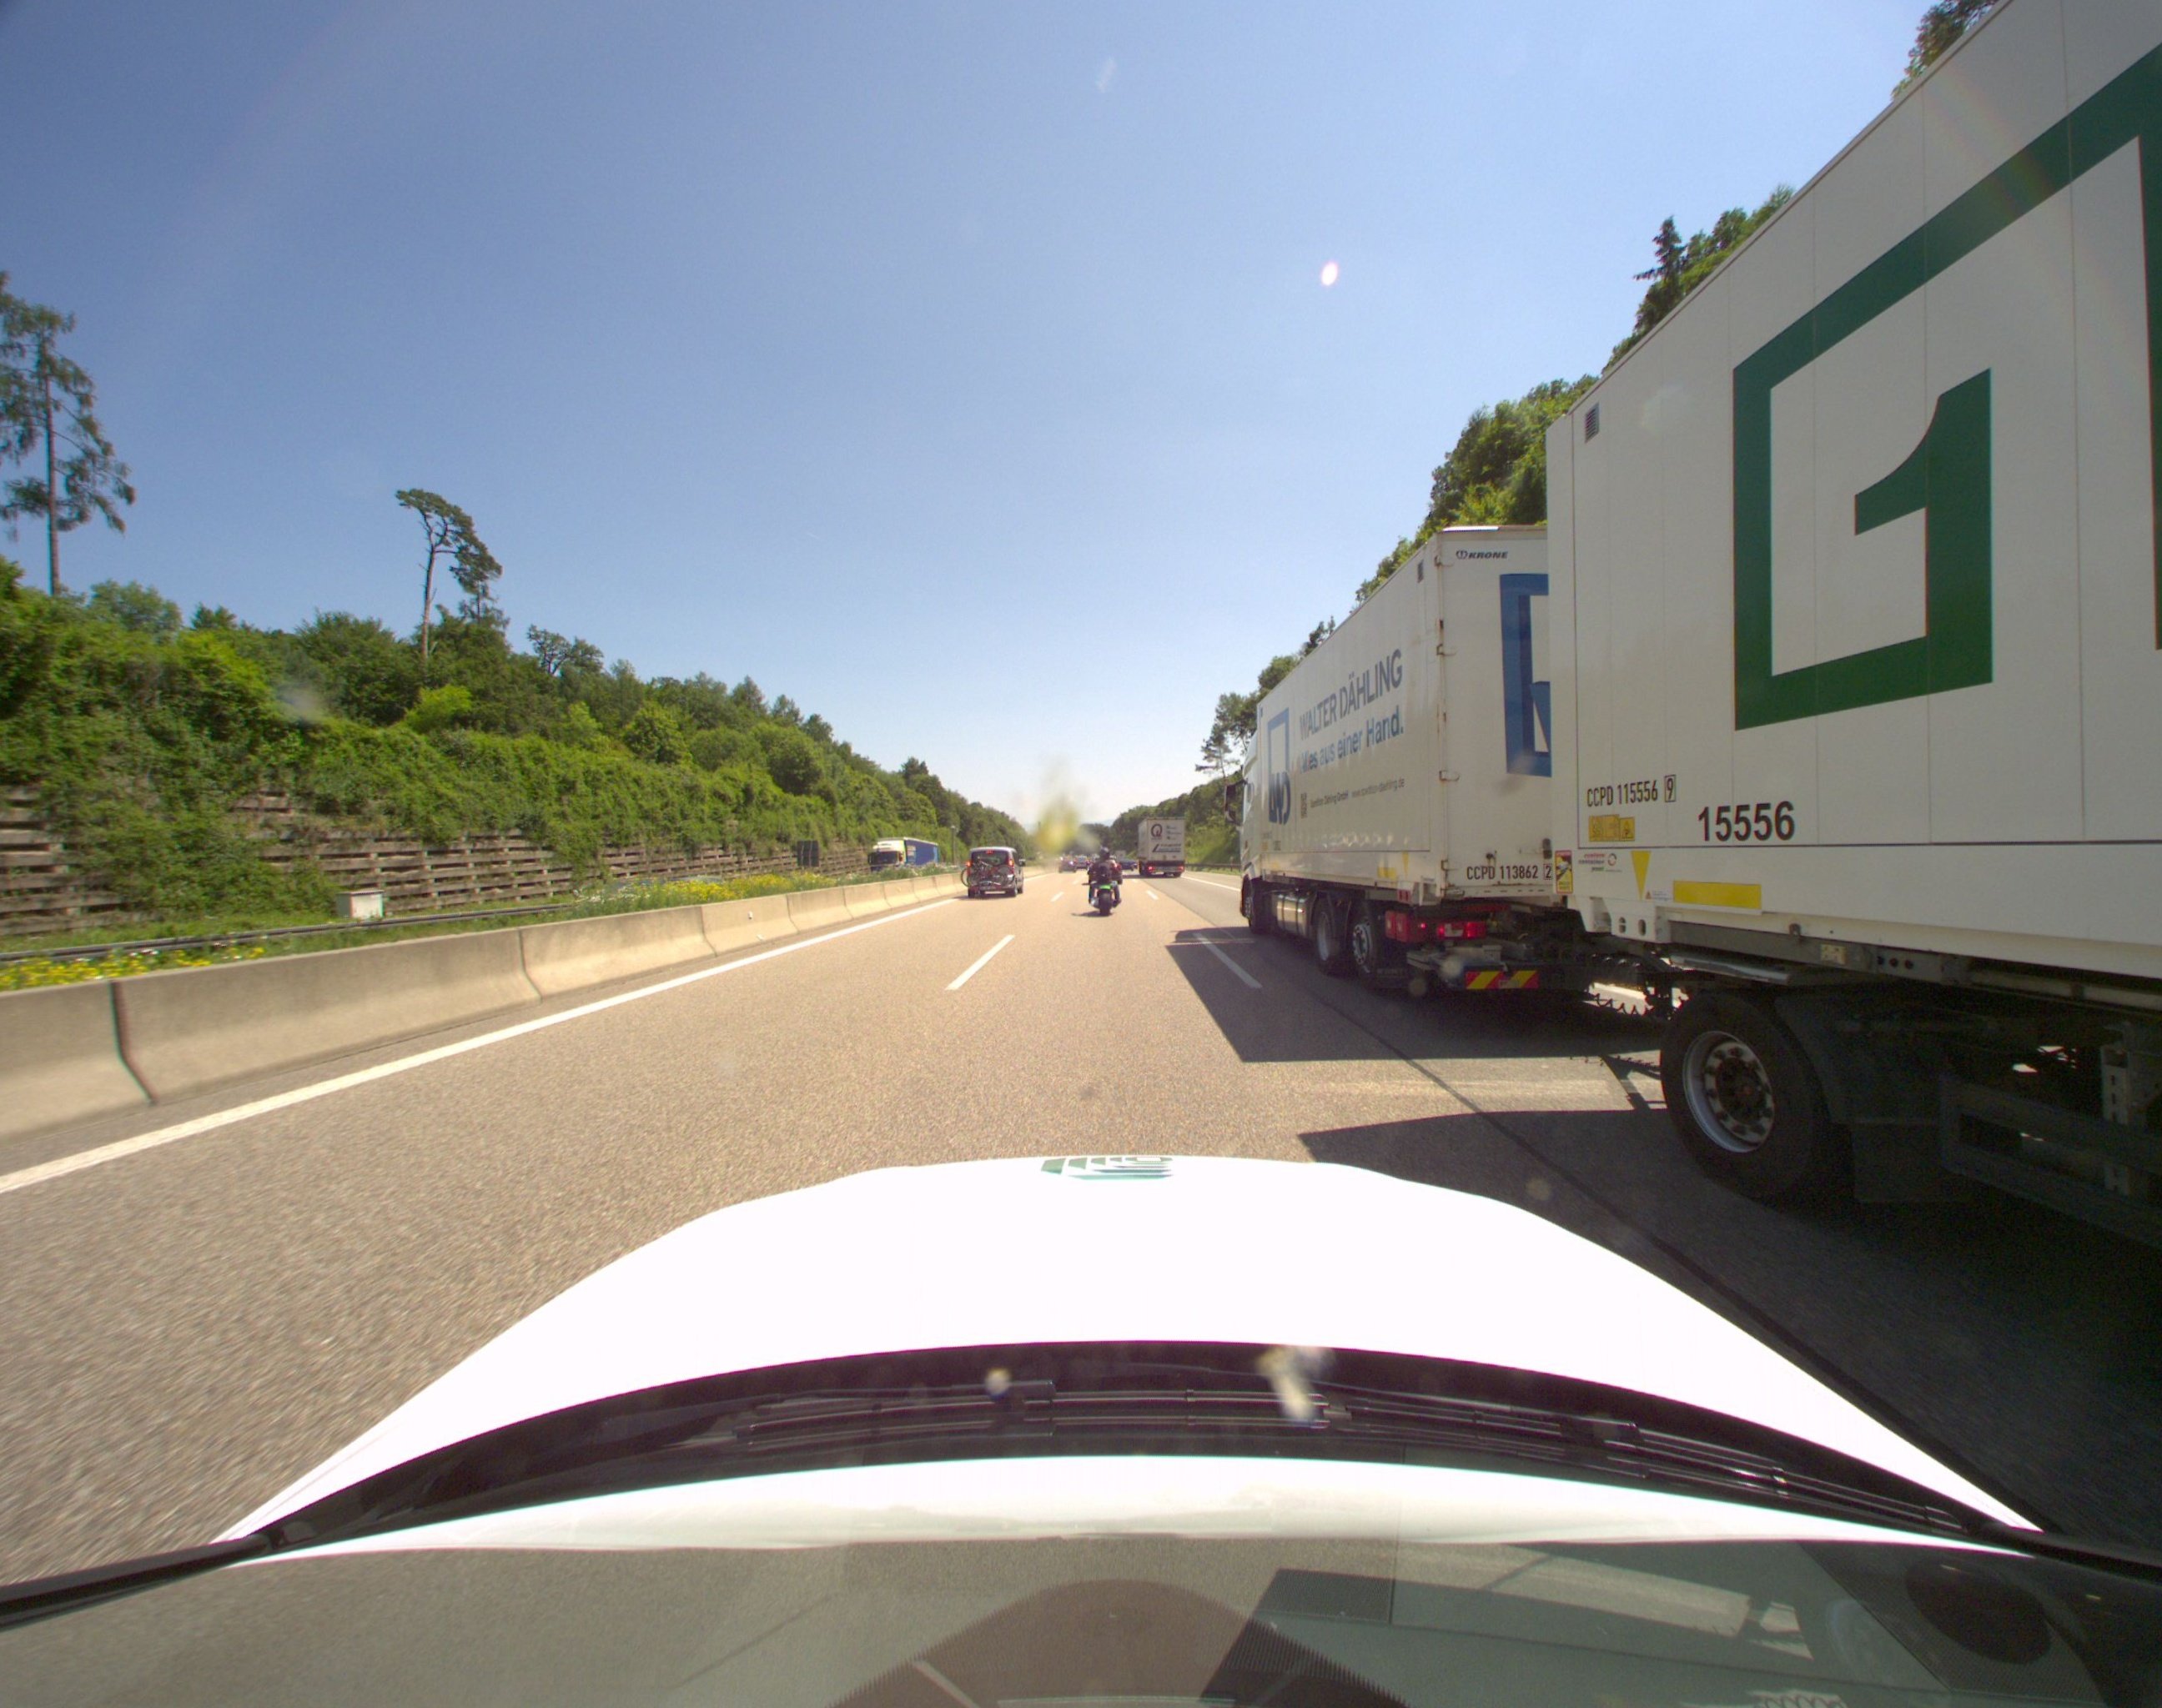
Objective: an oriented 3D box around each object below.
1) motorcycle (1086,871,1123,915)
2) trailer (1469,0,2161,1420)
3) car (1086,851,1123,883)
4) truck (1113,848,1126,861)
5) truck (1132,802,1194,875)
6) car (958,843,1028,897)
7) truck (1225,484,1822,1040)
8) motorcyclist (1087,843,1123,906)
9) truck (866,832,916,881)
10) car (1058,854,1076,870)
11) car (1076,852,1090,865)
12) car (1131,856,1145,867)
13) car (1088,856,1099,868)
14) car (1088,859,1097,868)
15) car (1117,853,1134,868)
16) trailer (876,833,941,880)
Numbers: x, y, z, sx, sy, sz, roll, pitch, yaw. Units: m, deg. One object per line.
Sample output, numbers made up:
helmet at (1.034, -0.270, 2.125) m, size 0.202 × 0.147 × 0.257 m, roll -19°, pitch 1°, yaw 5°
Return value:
motorcycle at (0.612, 0.950, 20.354) m, size 0.859 × 0.982 × 2.132 m, roll -1°, pitch 0°, yaw 2°
trailer at (3.977, -0.680, 0.715) m, size 2.670 × 4.175 × 10.068 m, roll -1°, pitch 0°, yaw 1°
car at (1.226, 0.637, 43.143) m, size 1.839 × 1.557 × 4.441 m, roll -1°, pitch 1°, yaw 1°
truck at (10.040, 0.150, 212.056) m, size 3.056 × 3.346 × 9.656 m, roll 0°, pitch 0°, yaw 2°
truck at (5.908, -1.093, 61.956) m, size 3.371 × 4.717 × 17.716 m, roll 0°, pitch 0°, yaw 2°
car at (-3.217, 0.556, 30.908) m, size 1.891 × 1.848 × 5.484 m, roll -1°, pitch 0°, yaw 1°
truck at (4.198, -0.717, 11.305) m, size 2.670 × 4.059 × 10.628 m, roll -1°, pitch 0°, yaw 1°
motorcyclist at (0.599, 0.493, 20.270) m, size 0.852 × 1.515 × 0.914 m, roll -1°, pitch 0°, yaw 2°
truck at (-16.272, 0.186, 70.145) m, size 2.670 × 4.030 × 5.933 m, roll -2°, pitch 0°, yaw 1°
car at (-1.442, 0.839, 87.693) m, size 1.751 × 1.543 × 4.396 m, roll -1°, pitch 1°, yaw 1°
car at (0.311, 0.629, 114.567) m, size 1.824 × 1.810 × 4.121 m, roll -1°, pitch 1°, yaw 1°
car at (8.264, 1.051, 118.663) m, size 1.824 × 1.526 × 4.028 m, roll -1°, pitch 1°, yaw 1°
car at (2.039, 1.359, 134.825) m, size 1.824 × 1.810 × 4.121 m, roll -1°, pitch 1°, yaw 1°
car at (2.493, 2.056, 172.498) m, size 1.824 × 1.810 × 4.121 m, roll -1°, pitch 1°, yaw 1°
car at (5.162, 0.710, 93.983) m, size 1.824 × 1.558 × 4.121 m, roll -1°, pitch 1°, yaw 1°
trailer at (-16.098, 0.166, 77.283) m, size 2.670 × 4.015 × 14.192 m, roll -2°, pitch 0°, yaw 1°
